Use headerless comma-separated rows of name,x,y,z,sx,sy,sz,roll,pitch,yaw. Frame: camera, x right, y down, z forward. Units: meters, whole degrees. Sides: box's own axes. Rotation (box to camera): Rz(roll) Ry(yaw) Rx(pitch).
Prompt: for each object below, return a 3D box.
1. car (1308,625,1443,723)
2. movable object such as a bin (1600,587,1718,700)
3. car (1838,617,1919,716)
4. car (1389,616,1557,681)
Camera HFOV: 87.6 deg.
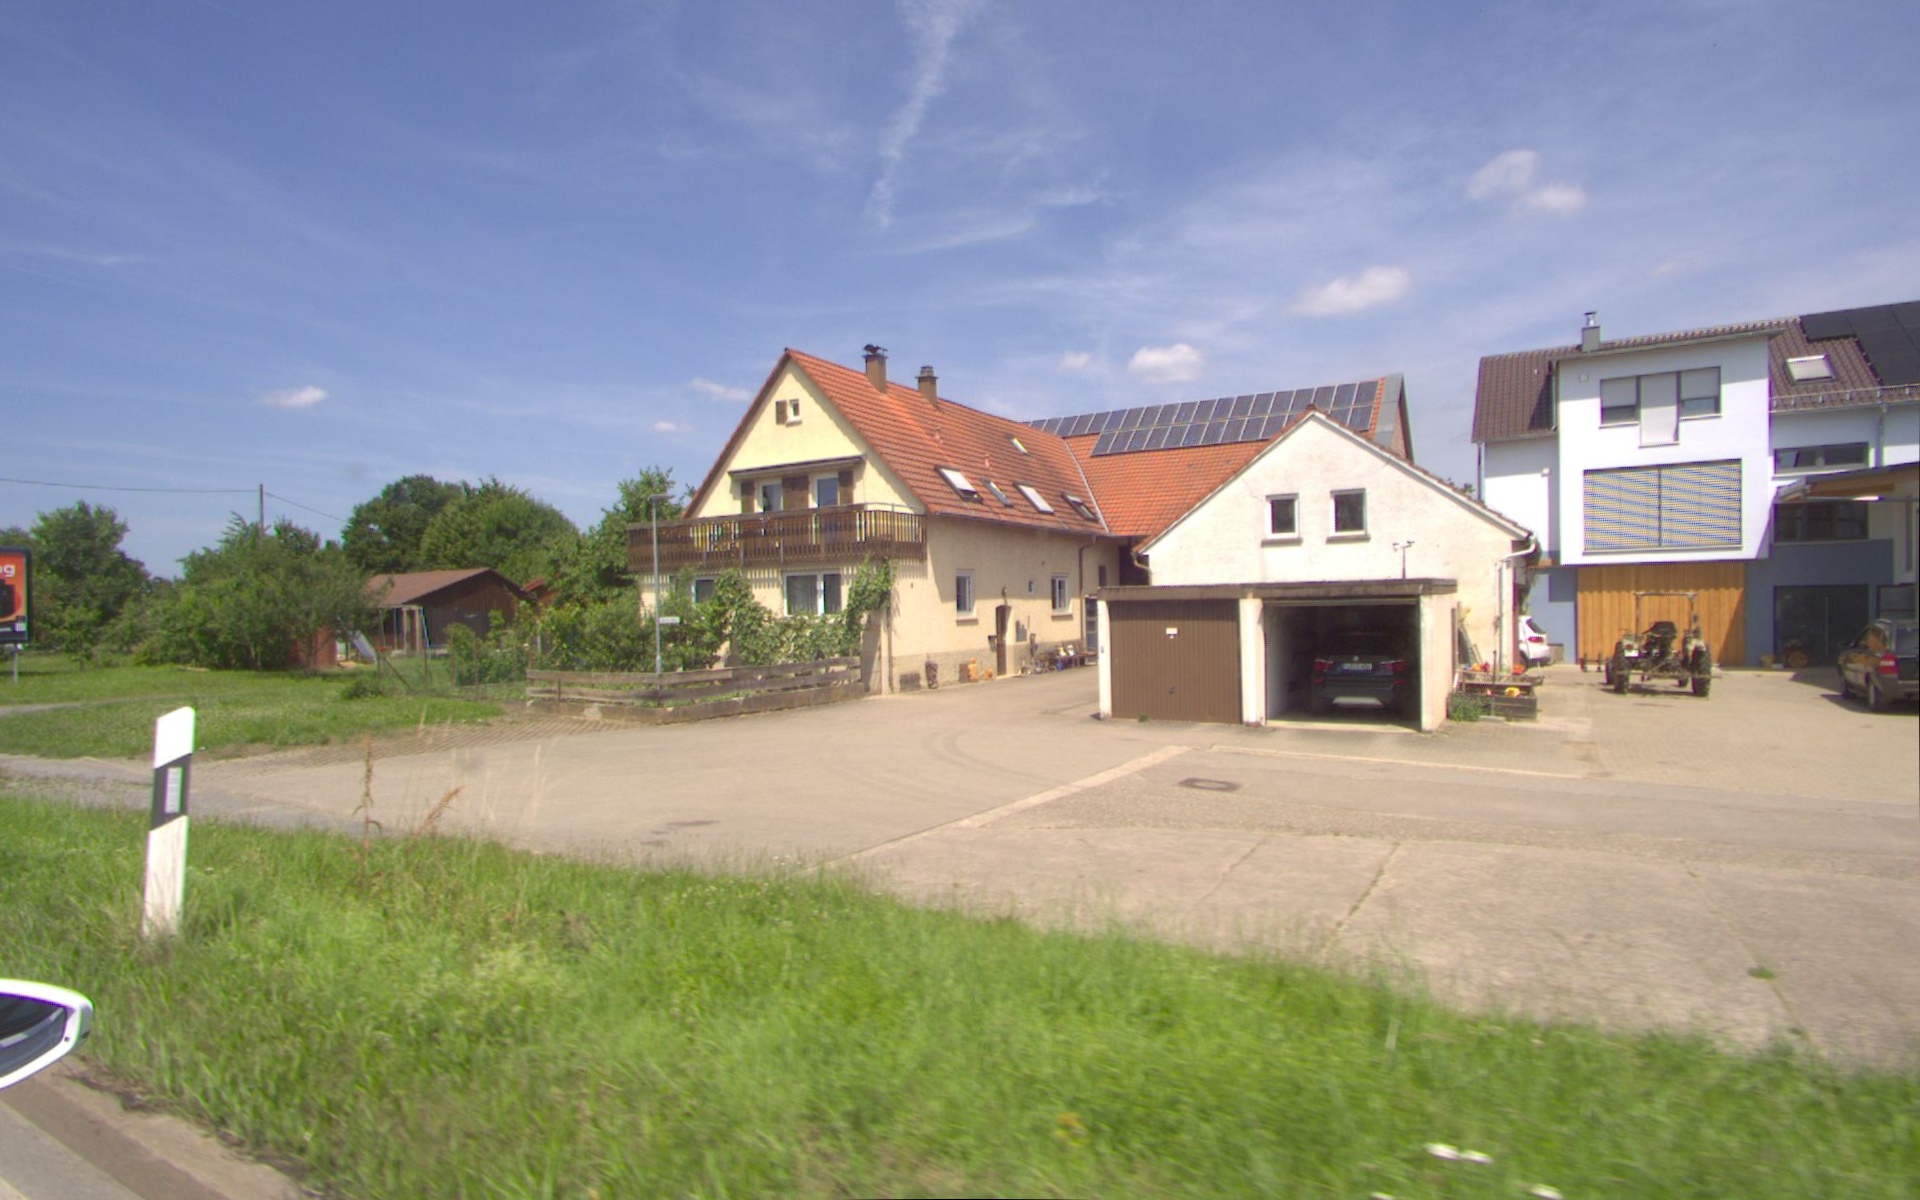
car,8.110,1.326,19.342,1.808,1.599,3.979,-1,-1,31
movable object such as a bin,16.097,0.900,23.197,2.050,2.375,3.699,1,1,34
car,18.697,1.227,19.519,1.819,1.715,3.938,-2,0,33
car,13.930,1.294,27.247,3.943,1.639,1.751,-2,-1,32
